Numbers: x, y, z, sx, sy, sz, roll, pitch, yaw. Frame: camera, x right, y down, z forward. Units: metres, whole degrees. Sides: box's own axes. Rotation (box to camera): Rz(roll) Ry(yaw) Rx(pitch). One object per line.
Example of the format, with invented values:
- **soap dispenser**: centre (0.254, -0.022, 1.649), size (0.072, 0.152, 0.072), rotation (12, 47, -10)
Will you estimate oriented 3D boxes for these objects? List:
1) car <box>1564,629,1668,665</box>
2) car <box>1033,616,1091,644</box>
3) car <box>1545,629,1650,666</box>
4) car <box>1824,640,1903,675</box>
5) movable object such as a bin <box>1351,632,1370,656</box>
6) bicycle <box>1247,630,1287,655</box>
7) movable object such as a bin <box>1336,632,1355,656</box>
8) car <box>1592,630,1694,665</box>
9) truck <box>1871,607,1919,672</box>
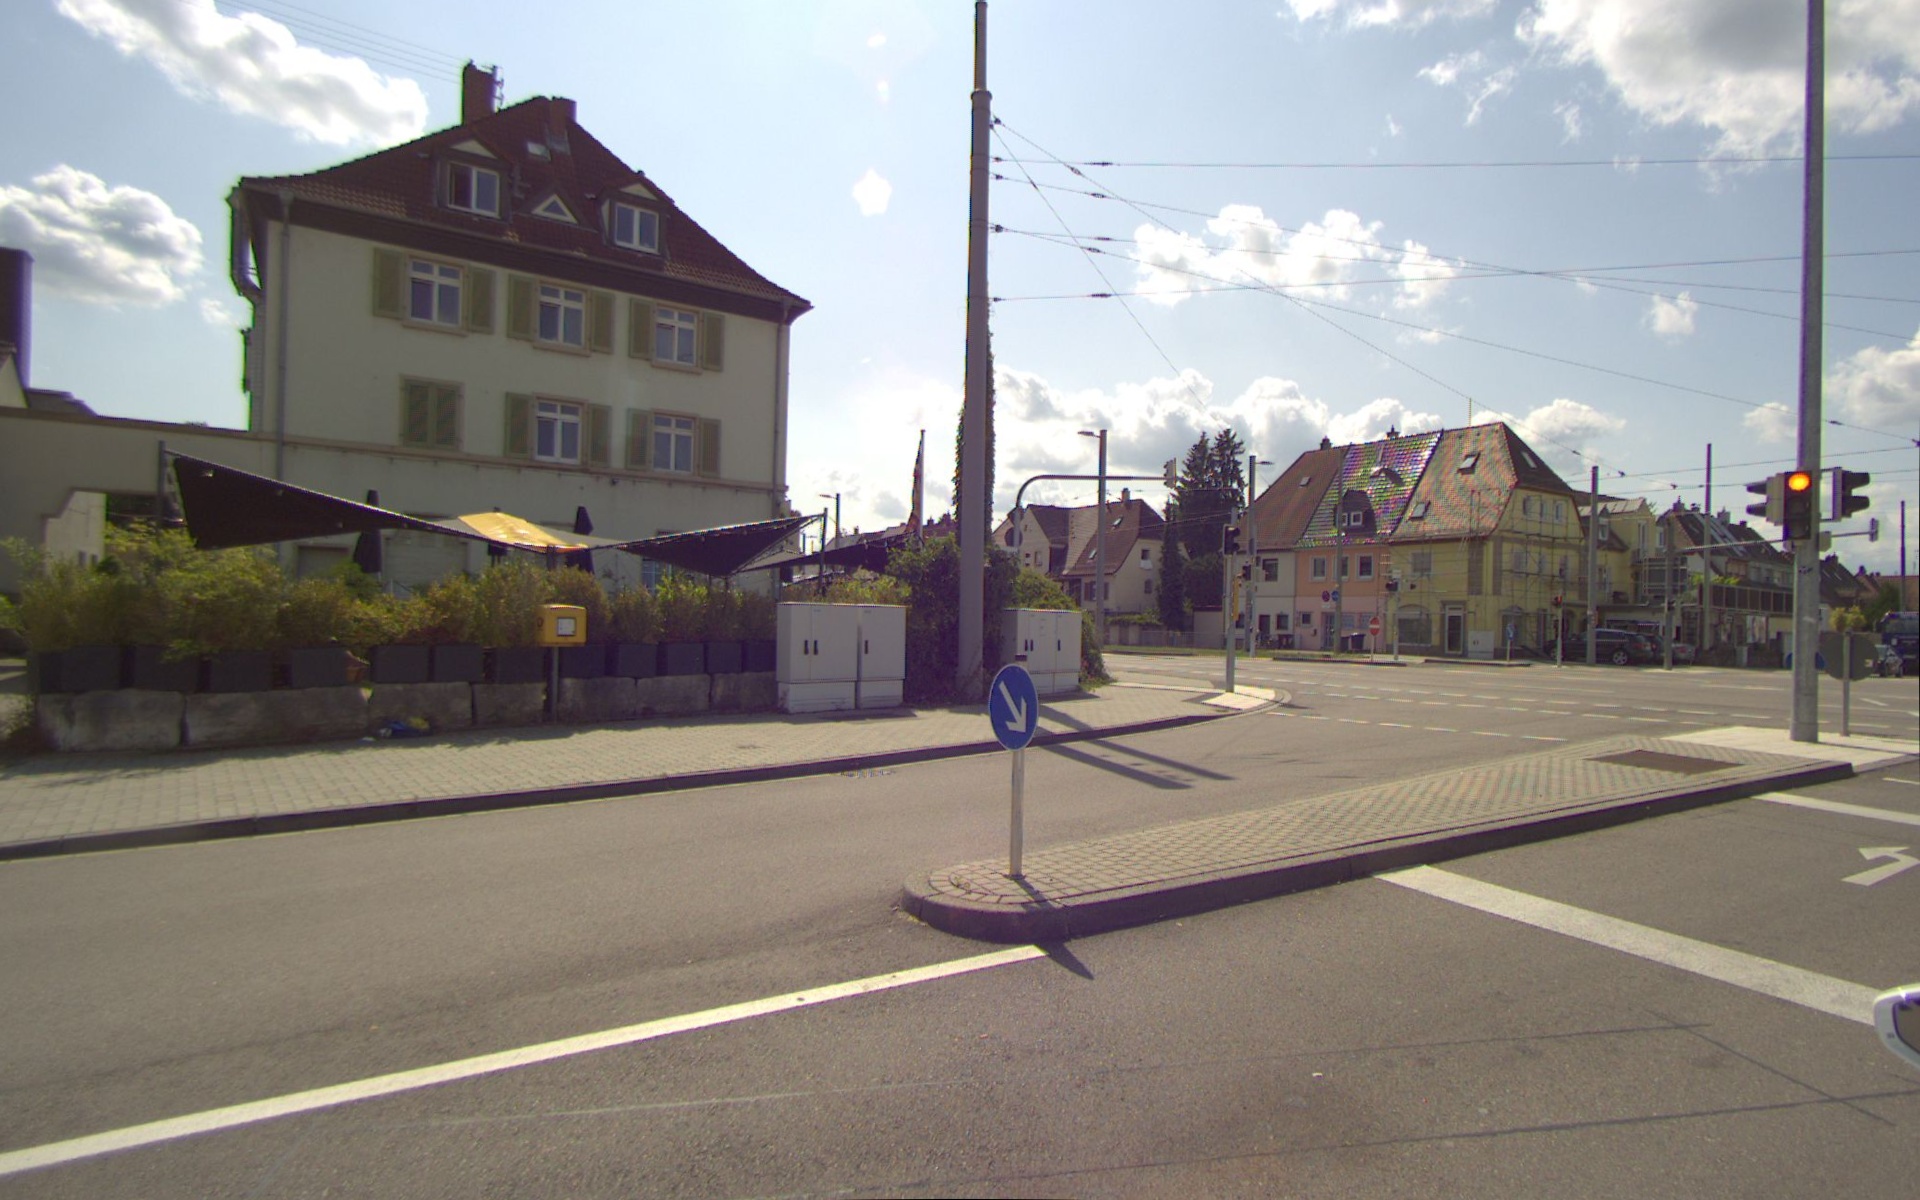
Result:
- **car**: centre (32.791, 2.318, 50.294), size (1.493, 1.513, 4.103), rotation (2, 0, -37)
- **car**: centre (6.165, 1.796, 60.741), size (1.569, 1.528, 3.517), rotation (2, 0, -34)
- **car**: centre (30.732, 2.251, 48.555), size (1.168, 1.513, 4.103), rotation (2, 0, -37)
- **car**: centre (41.575, 2.635, 46.177), size (4.291, 1.506, 1.816), rotation (3, -2, -35)
- **movable object such as a bin**: centre (22.013, 2.417, 55.151), size (0.674, 1.277, 0.677), rotation (2, 0, -33)
- **bicycle**: centre (18.045, 2.500, 59.081), size (2.428, 1.374, 0.770), rotation (2, 0, -29)
- **movable object such as a bin**: centre (20.886, 2.380, 54.463), size (0.674, 1.277, 0.677), rotation (2, 0, -33)
- **car**: centre (35.081, 2.431, 51.687), size (1.422, 1.513, 4.103), rotation (2, 0, -37)
- **truck**: centre (50.836, 2.146, 53.146), size (7.516, 3.230, 2.747), rotation (3, -2, -38)
